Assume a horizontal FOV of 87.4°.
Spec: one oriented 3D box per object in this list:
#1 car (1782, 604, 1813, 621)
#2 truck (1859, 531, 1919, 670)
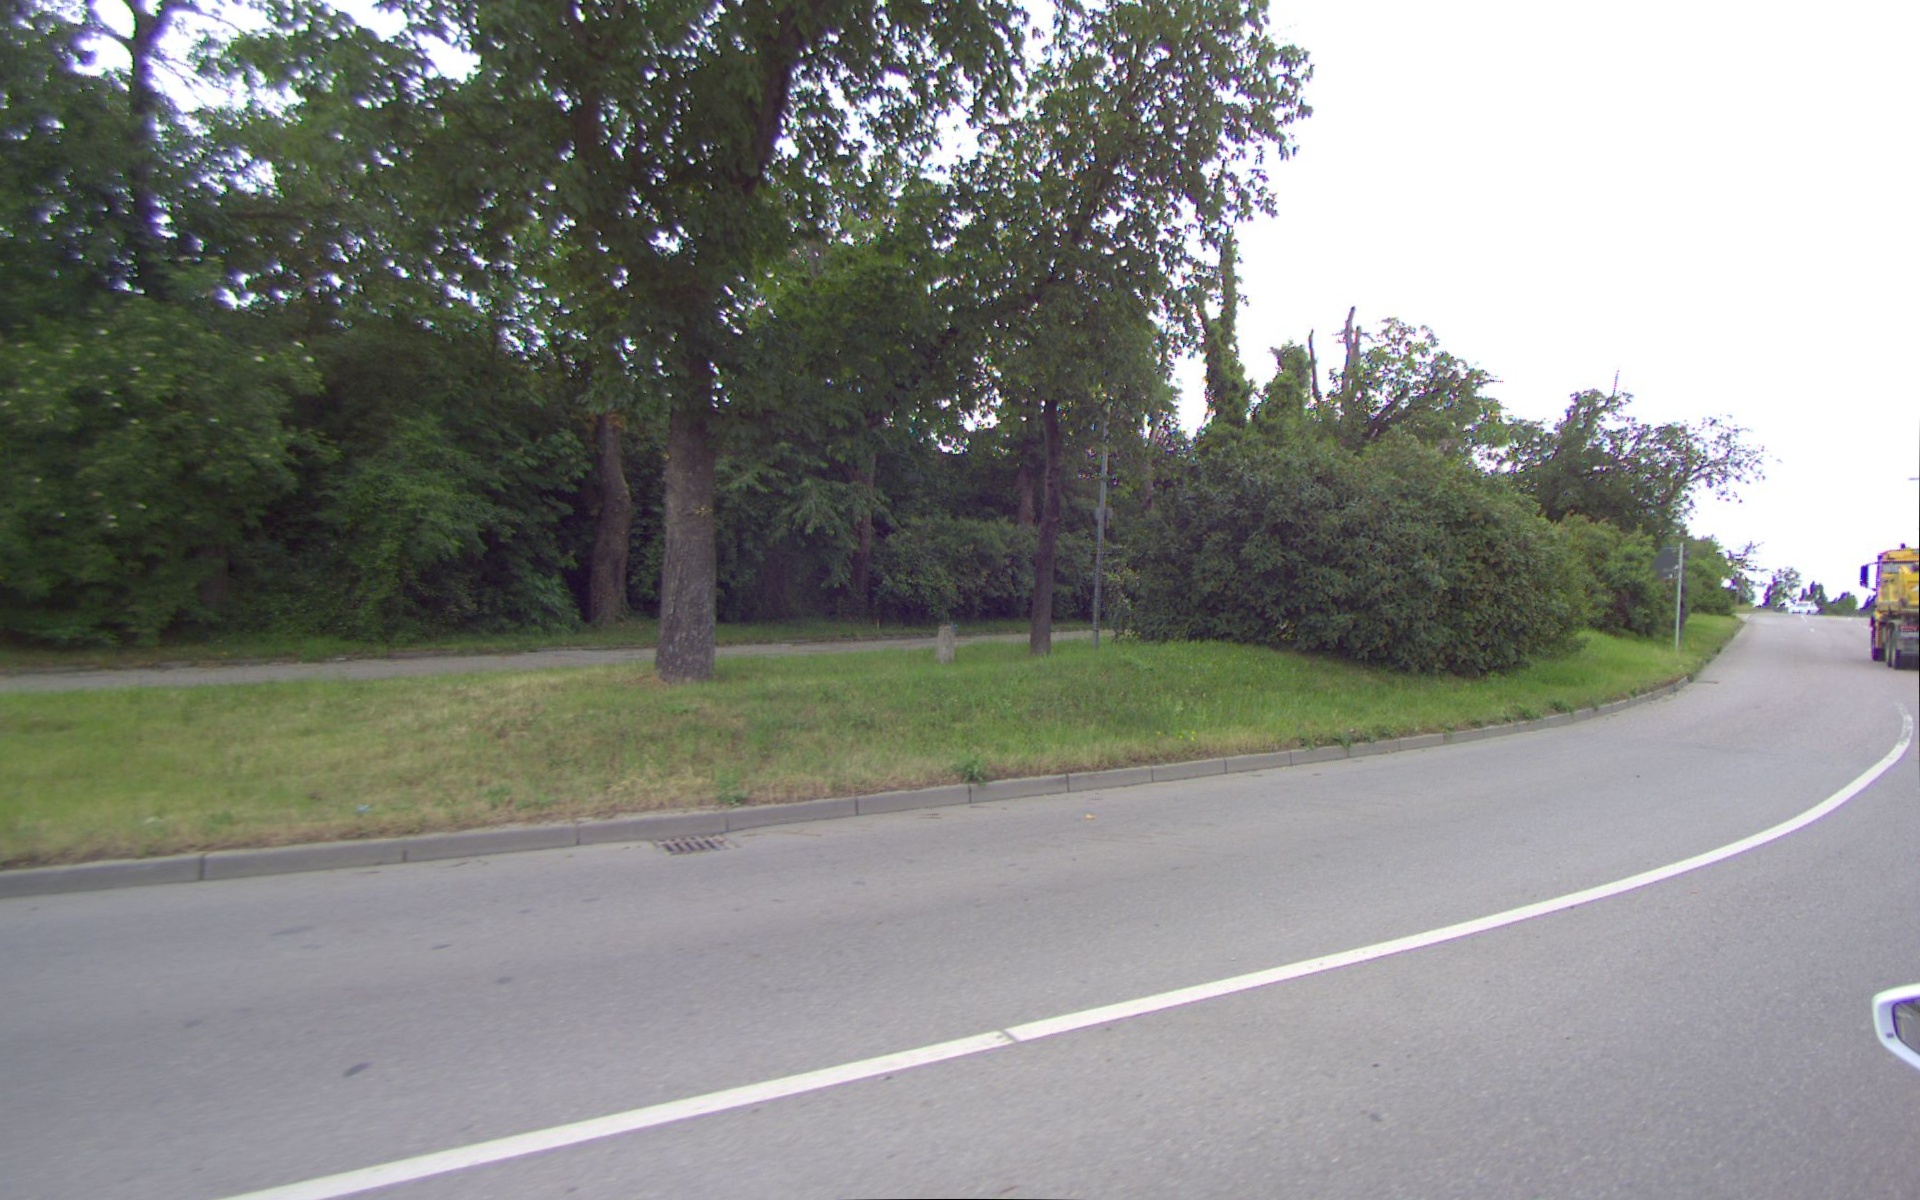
[{"bbox_3d":[88.554,1.330,106.198,3.970,1.662,1.975,1,2,-42],"label":"car"},{"bbox_3d":[27.593,0.014,28.394,2.731,3.530,8.093,1,1,38],"label":"truck"}]
